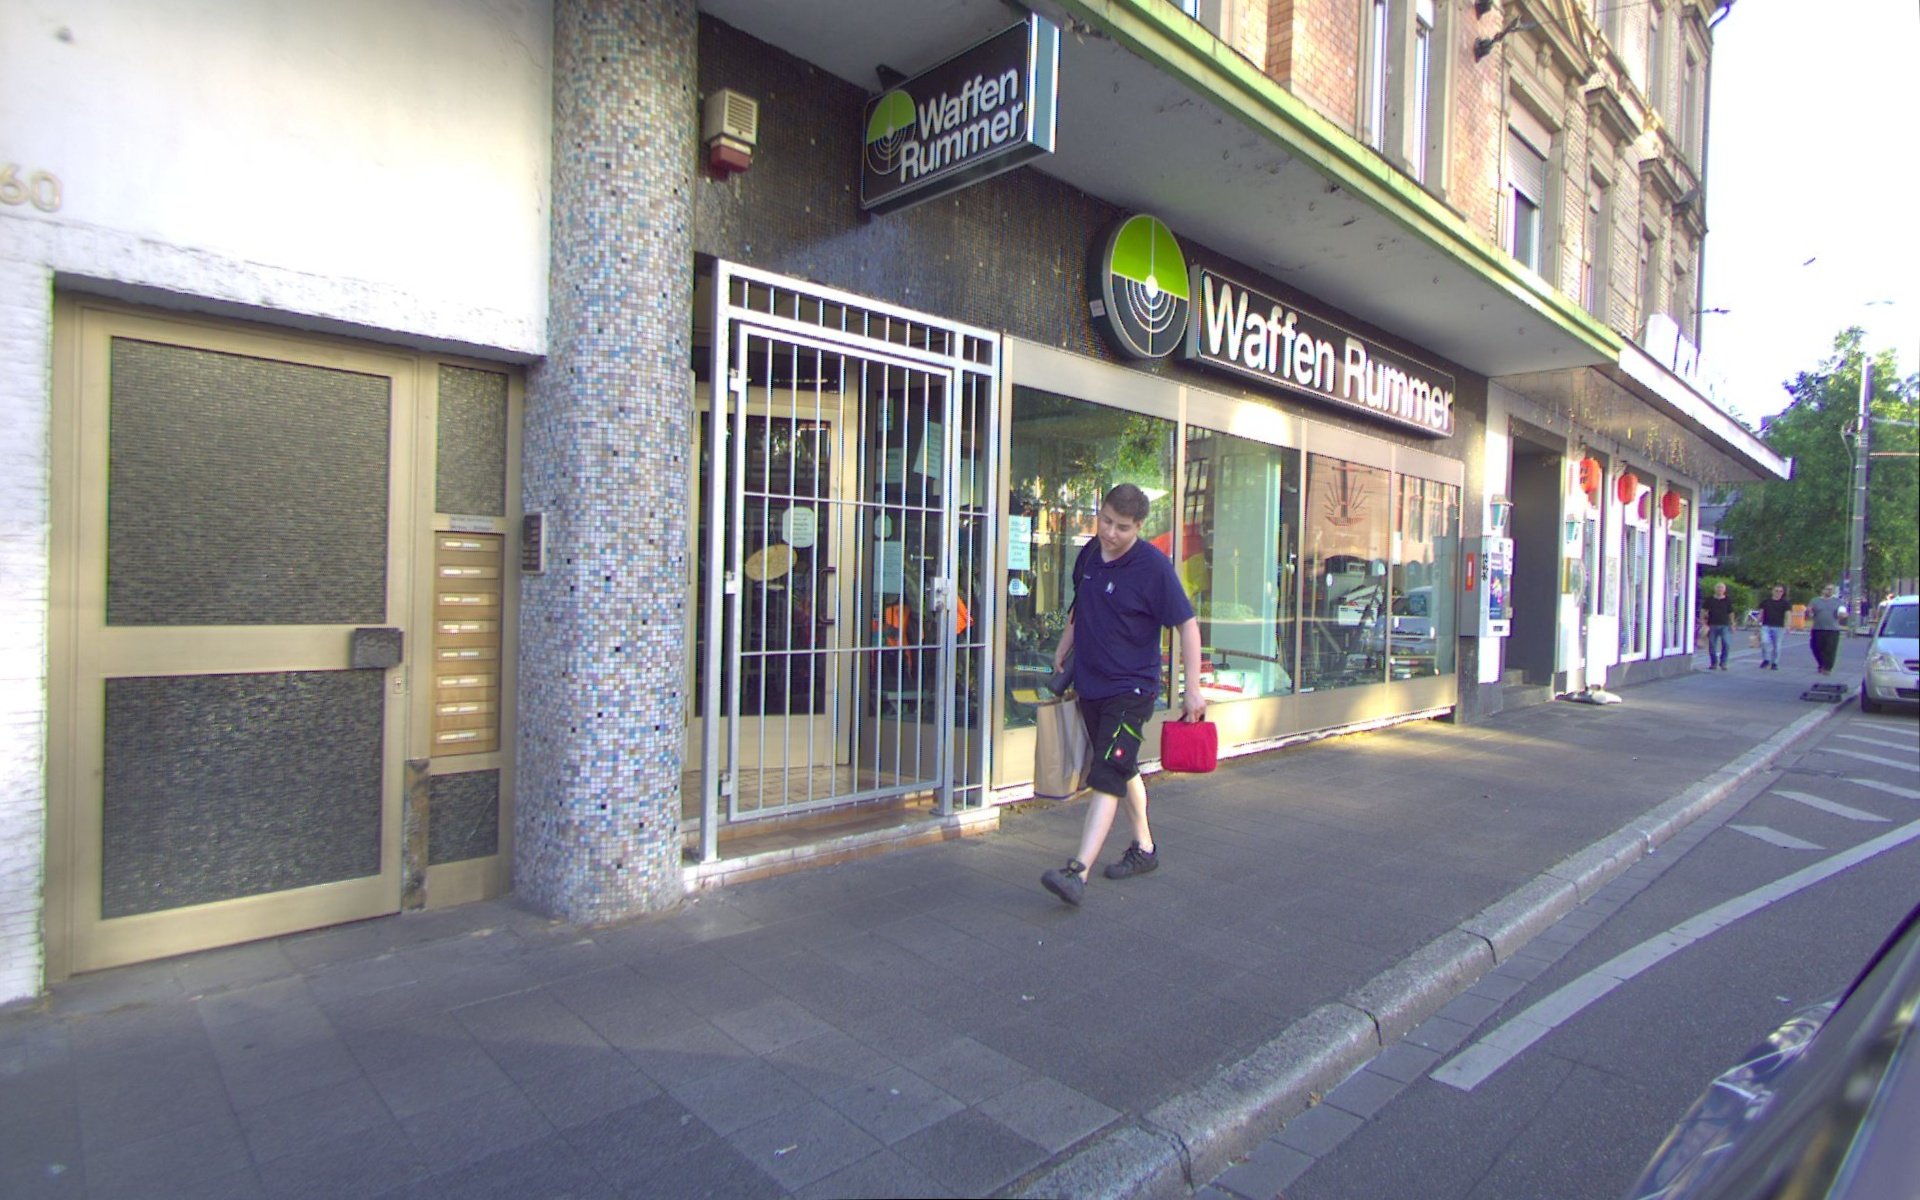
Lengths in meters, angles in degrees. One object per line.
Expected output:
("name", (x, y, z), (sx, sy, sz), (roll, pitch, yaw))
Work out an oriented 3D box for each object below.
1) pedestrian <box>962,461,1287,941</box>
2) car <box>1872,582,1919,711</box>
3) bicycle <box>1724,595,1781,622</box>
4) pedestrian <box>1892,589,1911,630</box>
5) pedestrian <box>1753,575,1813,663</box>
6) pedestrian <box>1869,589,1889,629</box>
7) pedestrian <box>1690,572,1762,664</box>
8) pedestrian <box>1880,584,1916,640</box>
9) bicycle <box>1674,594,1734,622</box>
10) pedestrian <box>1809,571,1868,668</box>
("pedestrian", (0.735, 0.361, 4.521), (1.037, 1.814, 0.947), (0, 2, -44))
("car", (13.805, 0.589, 13.968), (1.638, 1.635, 3.881), (1, 1, 45))
("bicycle", (34.206, 0.359, 43.685), (0.461, 1.109, 1.882), (0, 2, -45))
("pedestrian", (40.461, 0.392, 43.488), (0.430, 1.734, 0.493), (0, 3, -44))
("pedestrian", (17.450, 0.387, 21.453), (1.016, 1.778, 0.811), (0, 2, -44))
("pedestrian", (40.012, 0.384, 44.066), (0.430, 1.734, 0.493), (0, 3, -44))
("pedestrian", (15.420, 0.344, 20.371), (1.016, 1.734, 0.902), (0, 4, -44))
("pedestrian", (30.198, 0.382, 32.575), (0.930, 1.759, 0.788), (0, 1, -44))
("bicycle", (32.506, 0.334, 44.228), (2.012, 1.109, 0.628), (4, 2, 40))
("pedestrian", (18.172, 0.379, 20.934), (1.016, 1.922, 0.794), (0, 2, -44))
